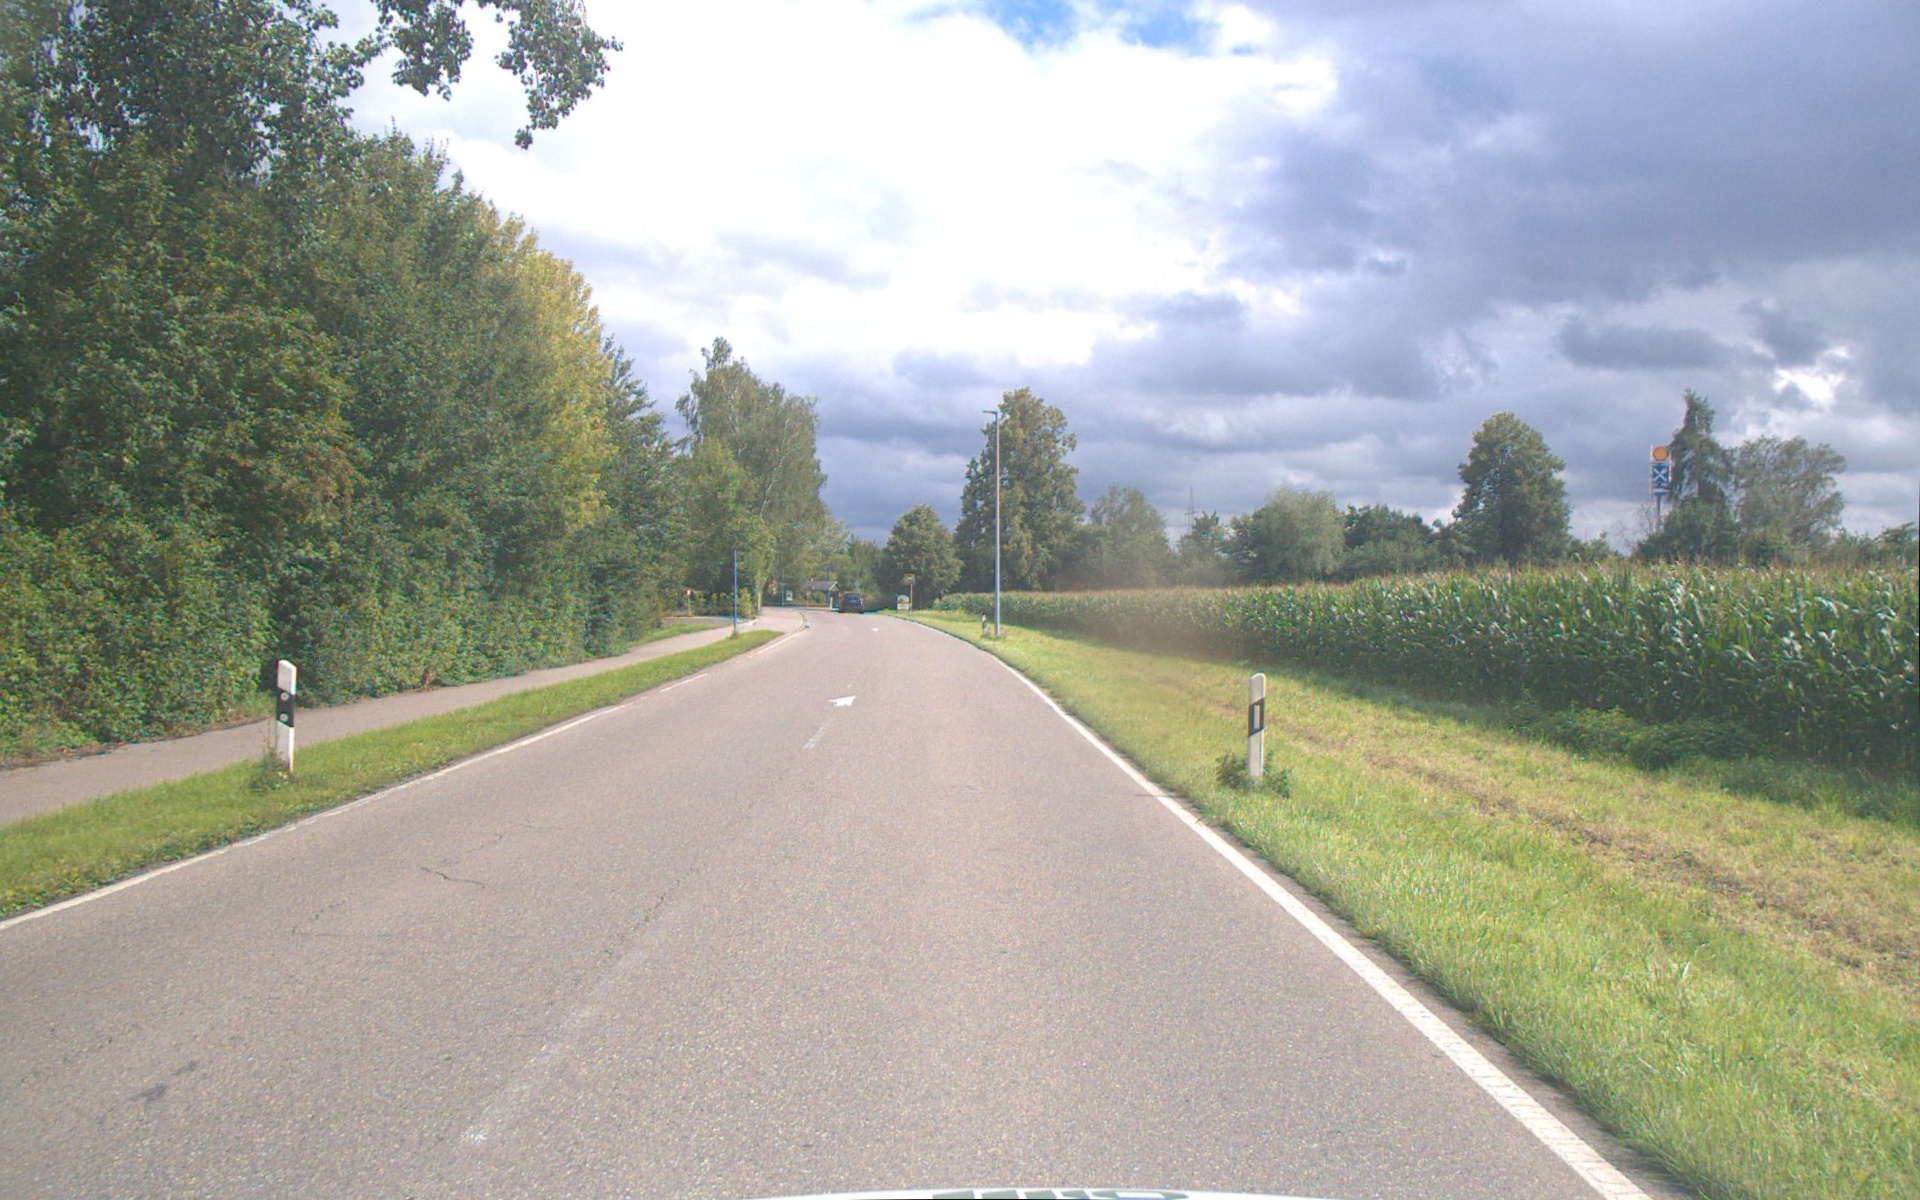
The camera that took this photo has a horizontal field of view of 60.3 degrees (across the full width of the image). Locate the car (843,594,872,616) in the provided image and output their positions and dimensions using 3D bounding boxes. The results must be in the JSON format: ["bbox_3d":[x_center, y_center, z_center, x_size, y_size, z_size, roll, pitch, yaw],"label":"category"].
[{"bbox_3d":[-8.129,0.406,131.267,1.956,1.613,3.993,3,-1,-8],"label":"car"}]
